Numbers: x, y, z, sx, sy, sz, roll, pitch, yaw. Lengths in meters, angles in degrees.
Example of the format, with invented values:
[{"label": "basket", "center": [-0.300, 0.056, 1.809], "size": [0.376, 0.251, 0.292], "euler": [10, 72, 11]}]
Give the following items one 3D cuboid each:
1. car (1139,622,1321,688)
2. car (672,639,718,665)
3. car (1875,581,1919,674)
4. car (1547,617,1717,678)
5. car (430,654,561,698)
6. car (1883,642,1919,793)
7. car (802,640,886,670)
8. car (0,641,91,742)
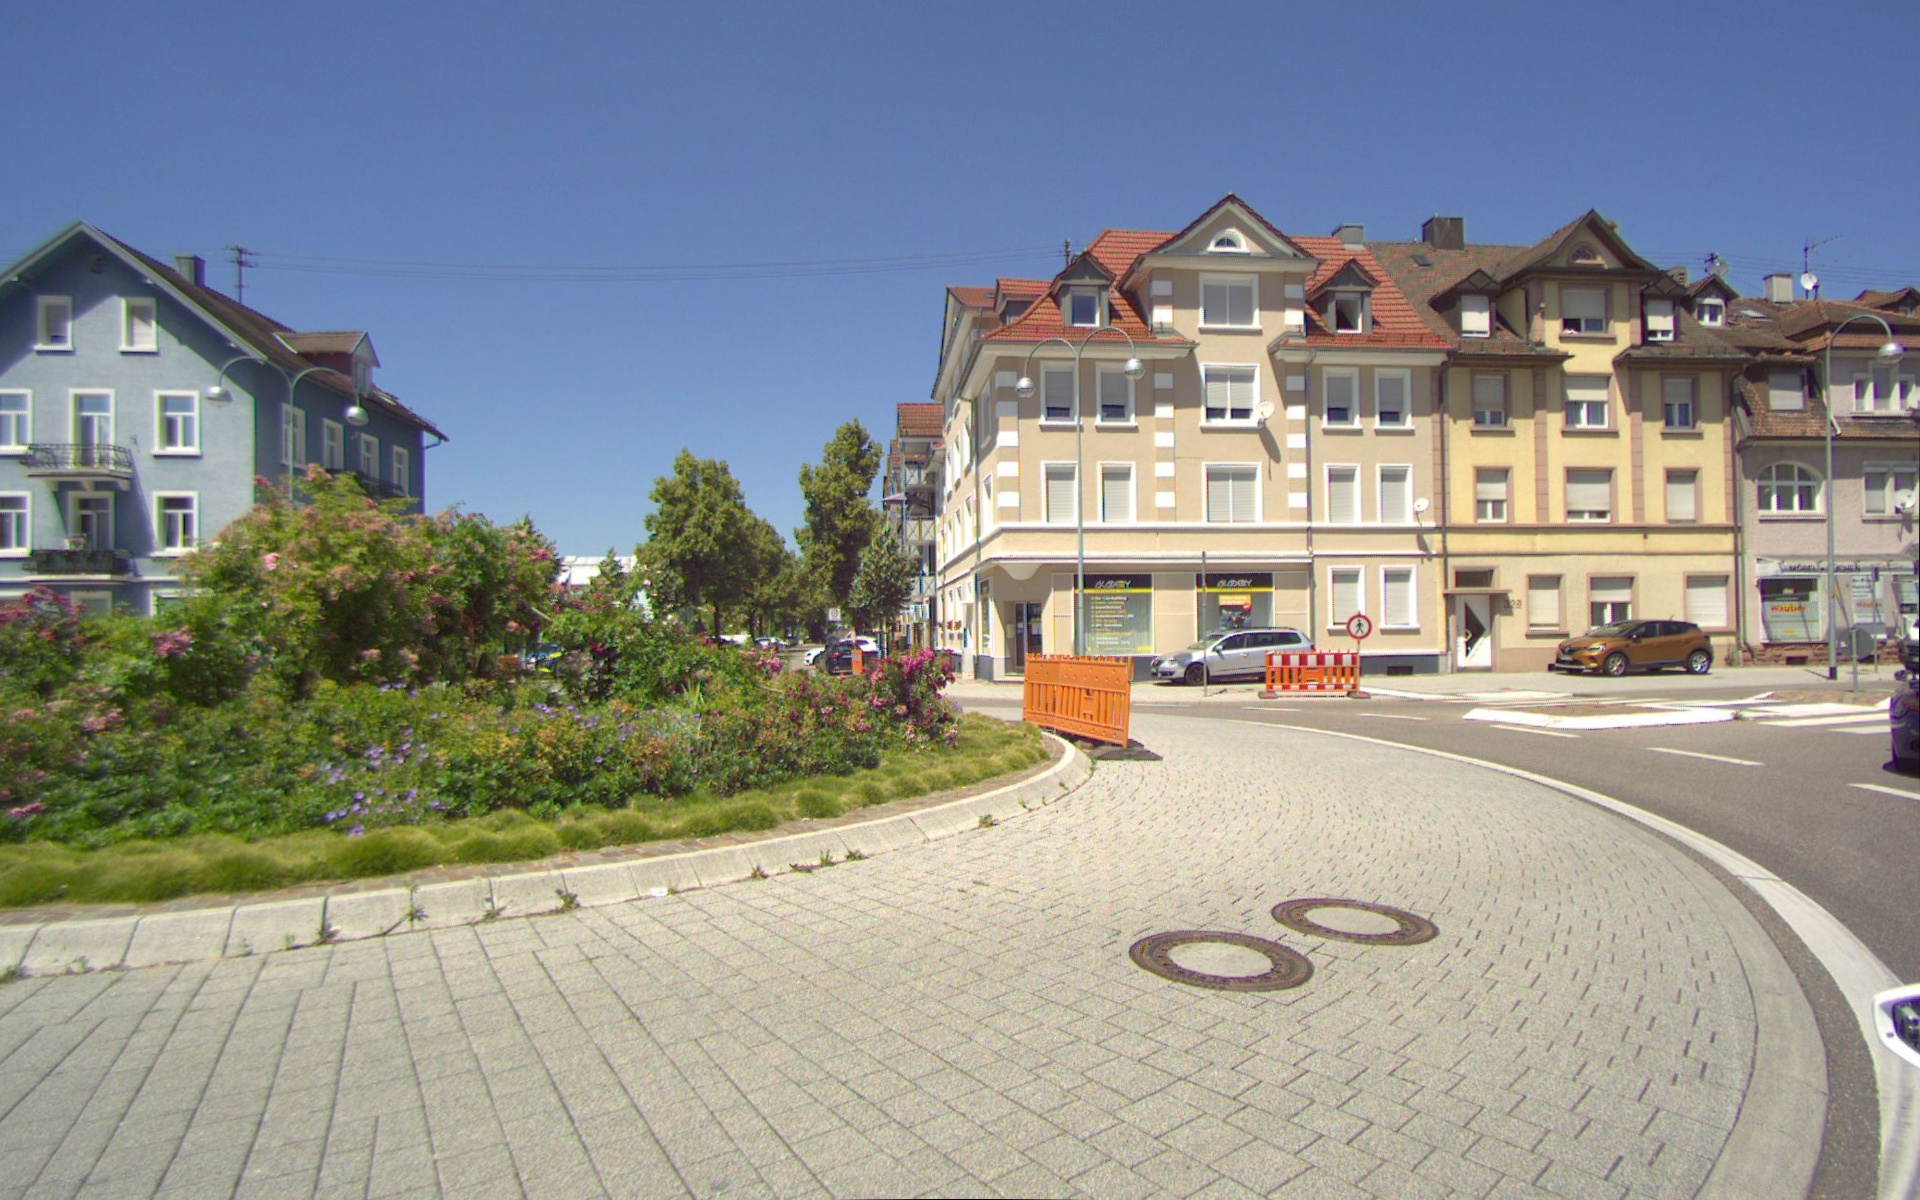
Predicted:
[{"label": "car", "center": [7.564, 1.515, 28.305], "size": [4.607, 1.708, 1.779], "euler": [-1, -1, -7]}, {"label": "car", "center": [-18.060, 3.532, 68.541], "size": [2.240, 1.715, 4.126], "euler": [0, -3, -4]}, {"label": "car", "center": [29.580, 0.739, 28.410], "size": [6.124, 2.566, 2.148], "euler": [0, 0, -10]}, {"label": "car", "center": [19.403, 1.341, 29.070], "size": [4.015, 1.638, 1.602], "euler": [-1, 0, -7]}, {"label": "car", "center": [-18.776, 3.056, 40.760], "size": [4.402, 1.530, 1.998], "euler": [-1, 0, -8]}, {"label": "car", "center": [11.974, 1.308, 11.442], "size": [4.477, 1.550, 1.853], "euler": [4, -4, -44]}, {"label": "car", "center": [-6.116, 2.896, 53.288], "size": [4.325, 1.512, 1.982], "euler": [-1, -3, -5]}, {"label": "car", "center": [-18.560, 1.676, 17.993], "size": [1.751, 1.801, 4.232], "euler": [-1, -2, 33]}]
